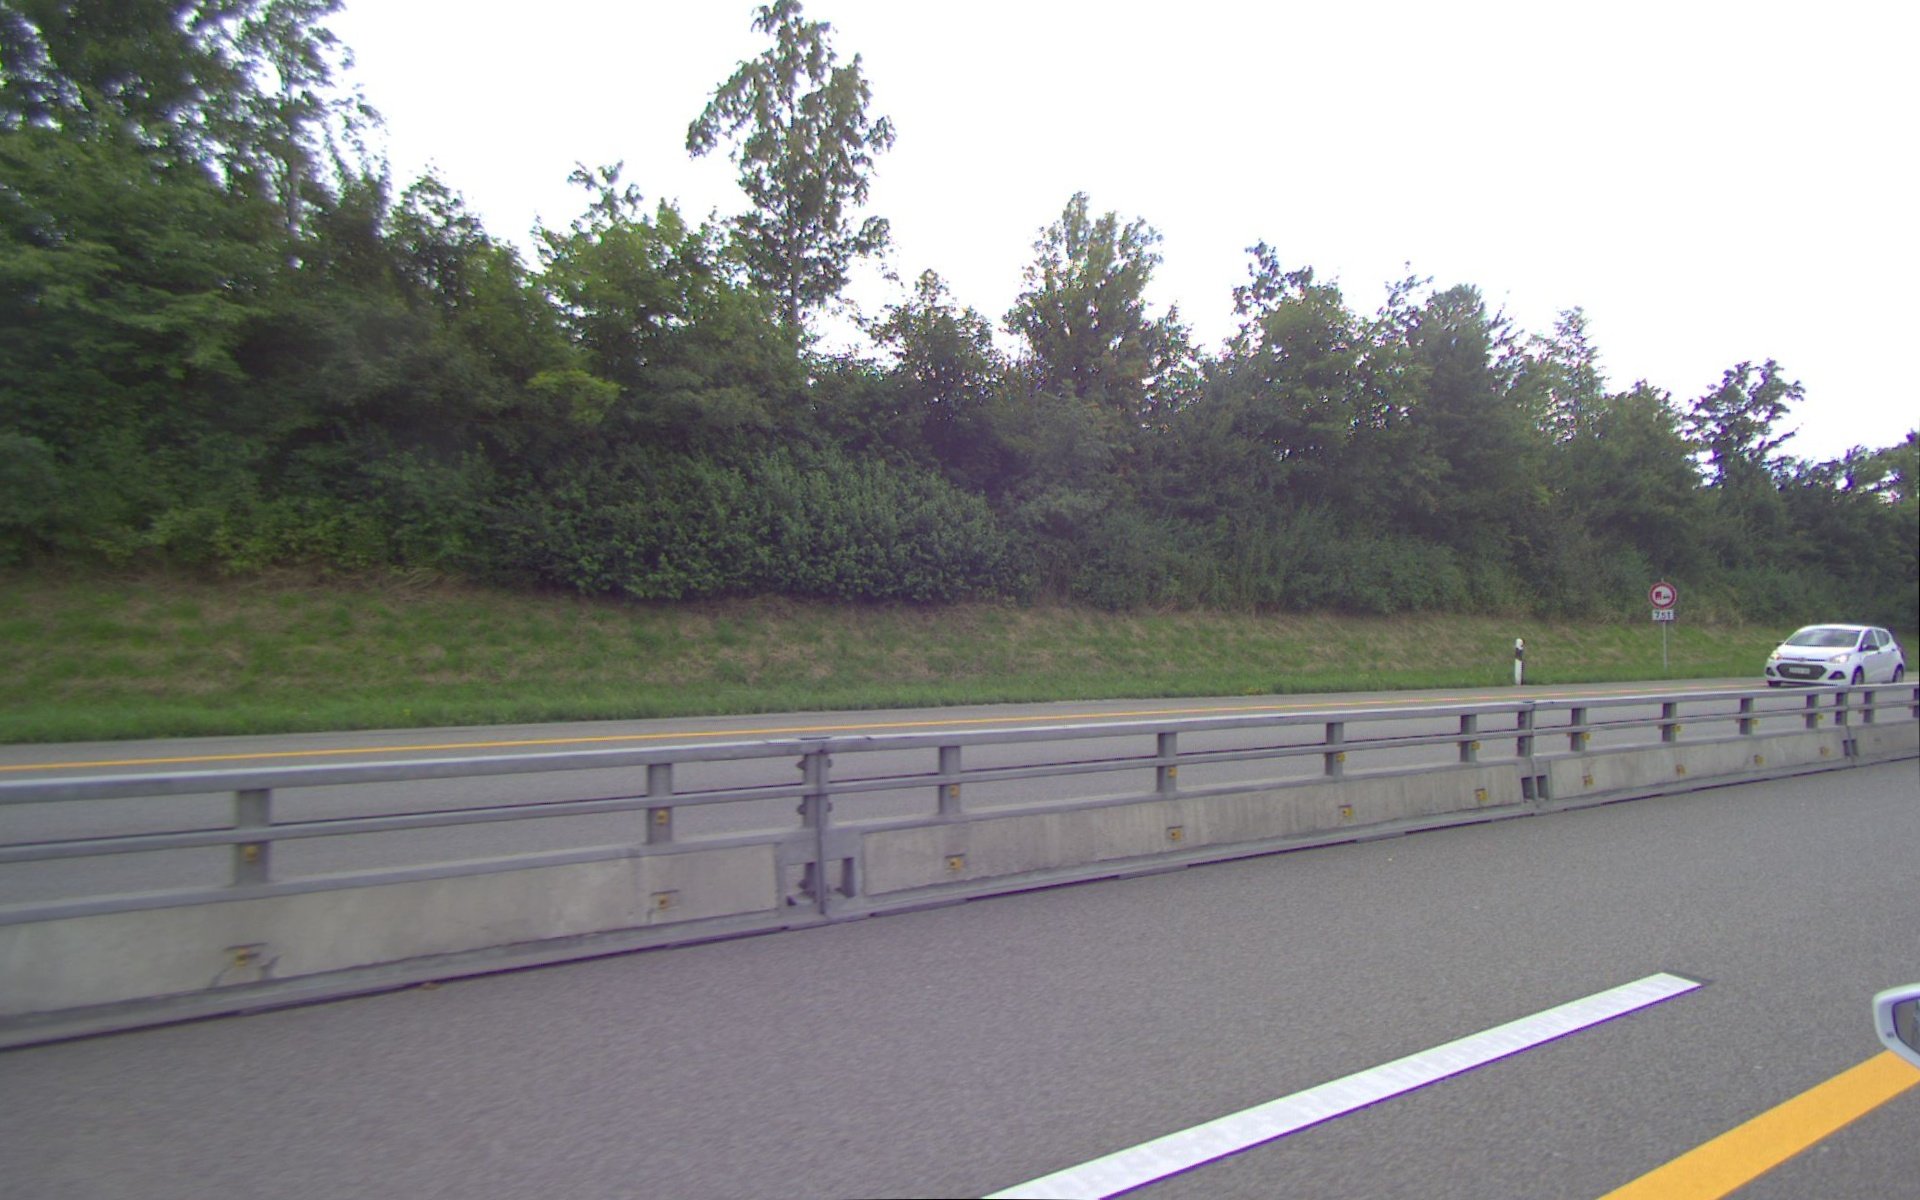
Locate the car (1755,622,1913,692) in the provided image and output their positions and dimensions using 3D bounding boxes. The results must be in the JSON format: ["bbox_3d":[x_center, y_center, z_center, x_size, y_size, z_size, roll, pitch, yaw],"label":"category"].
[{"bbox_3d":[20.735,1.309,23.814,3.914,1.473,1.686,1,1,-31],"label":"car"}]
